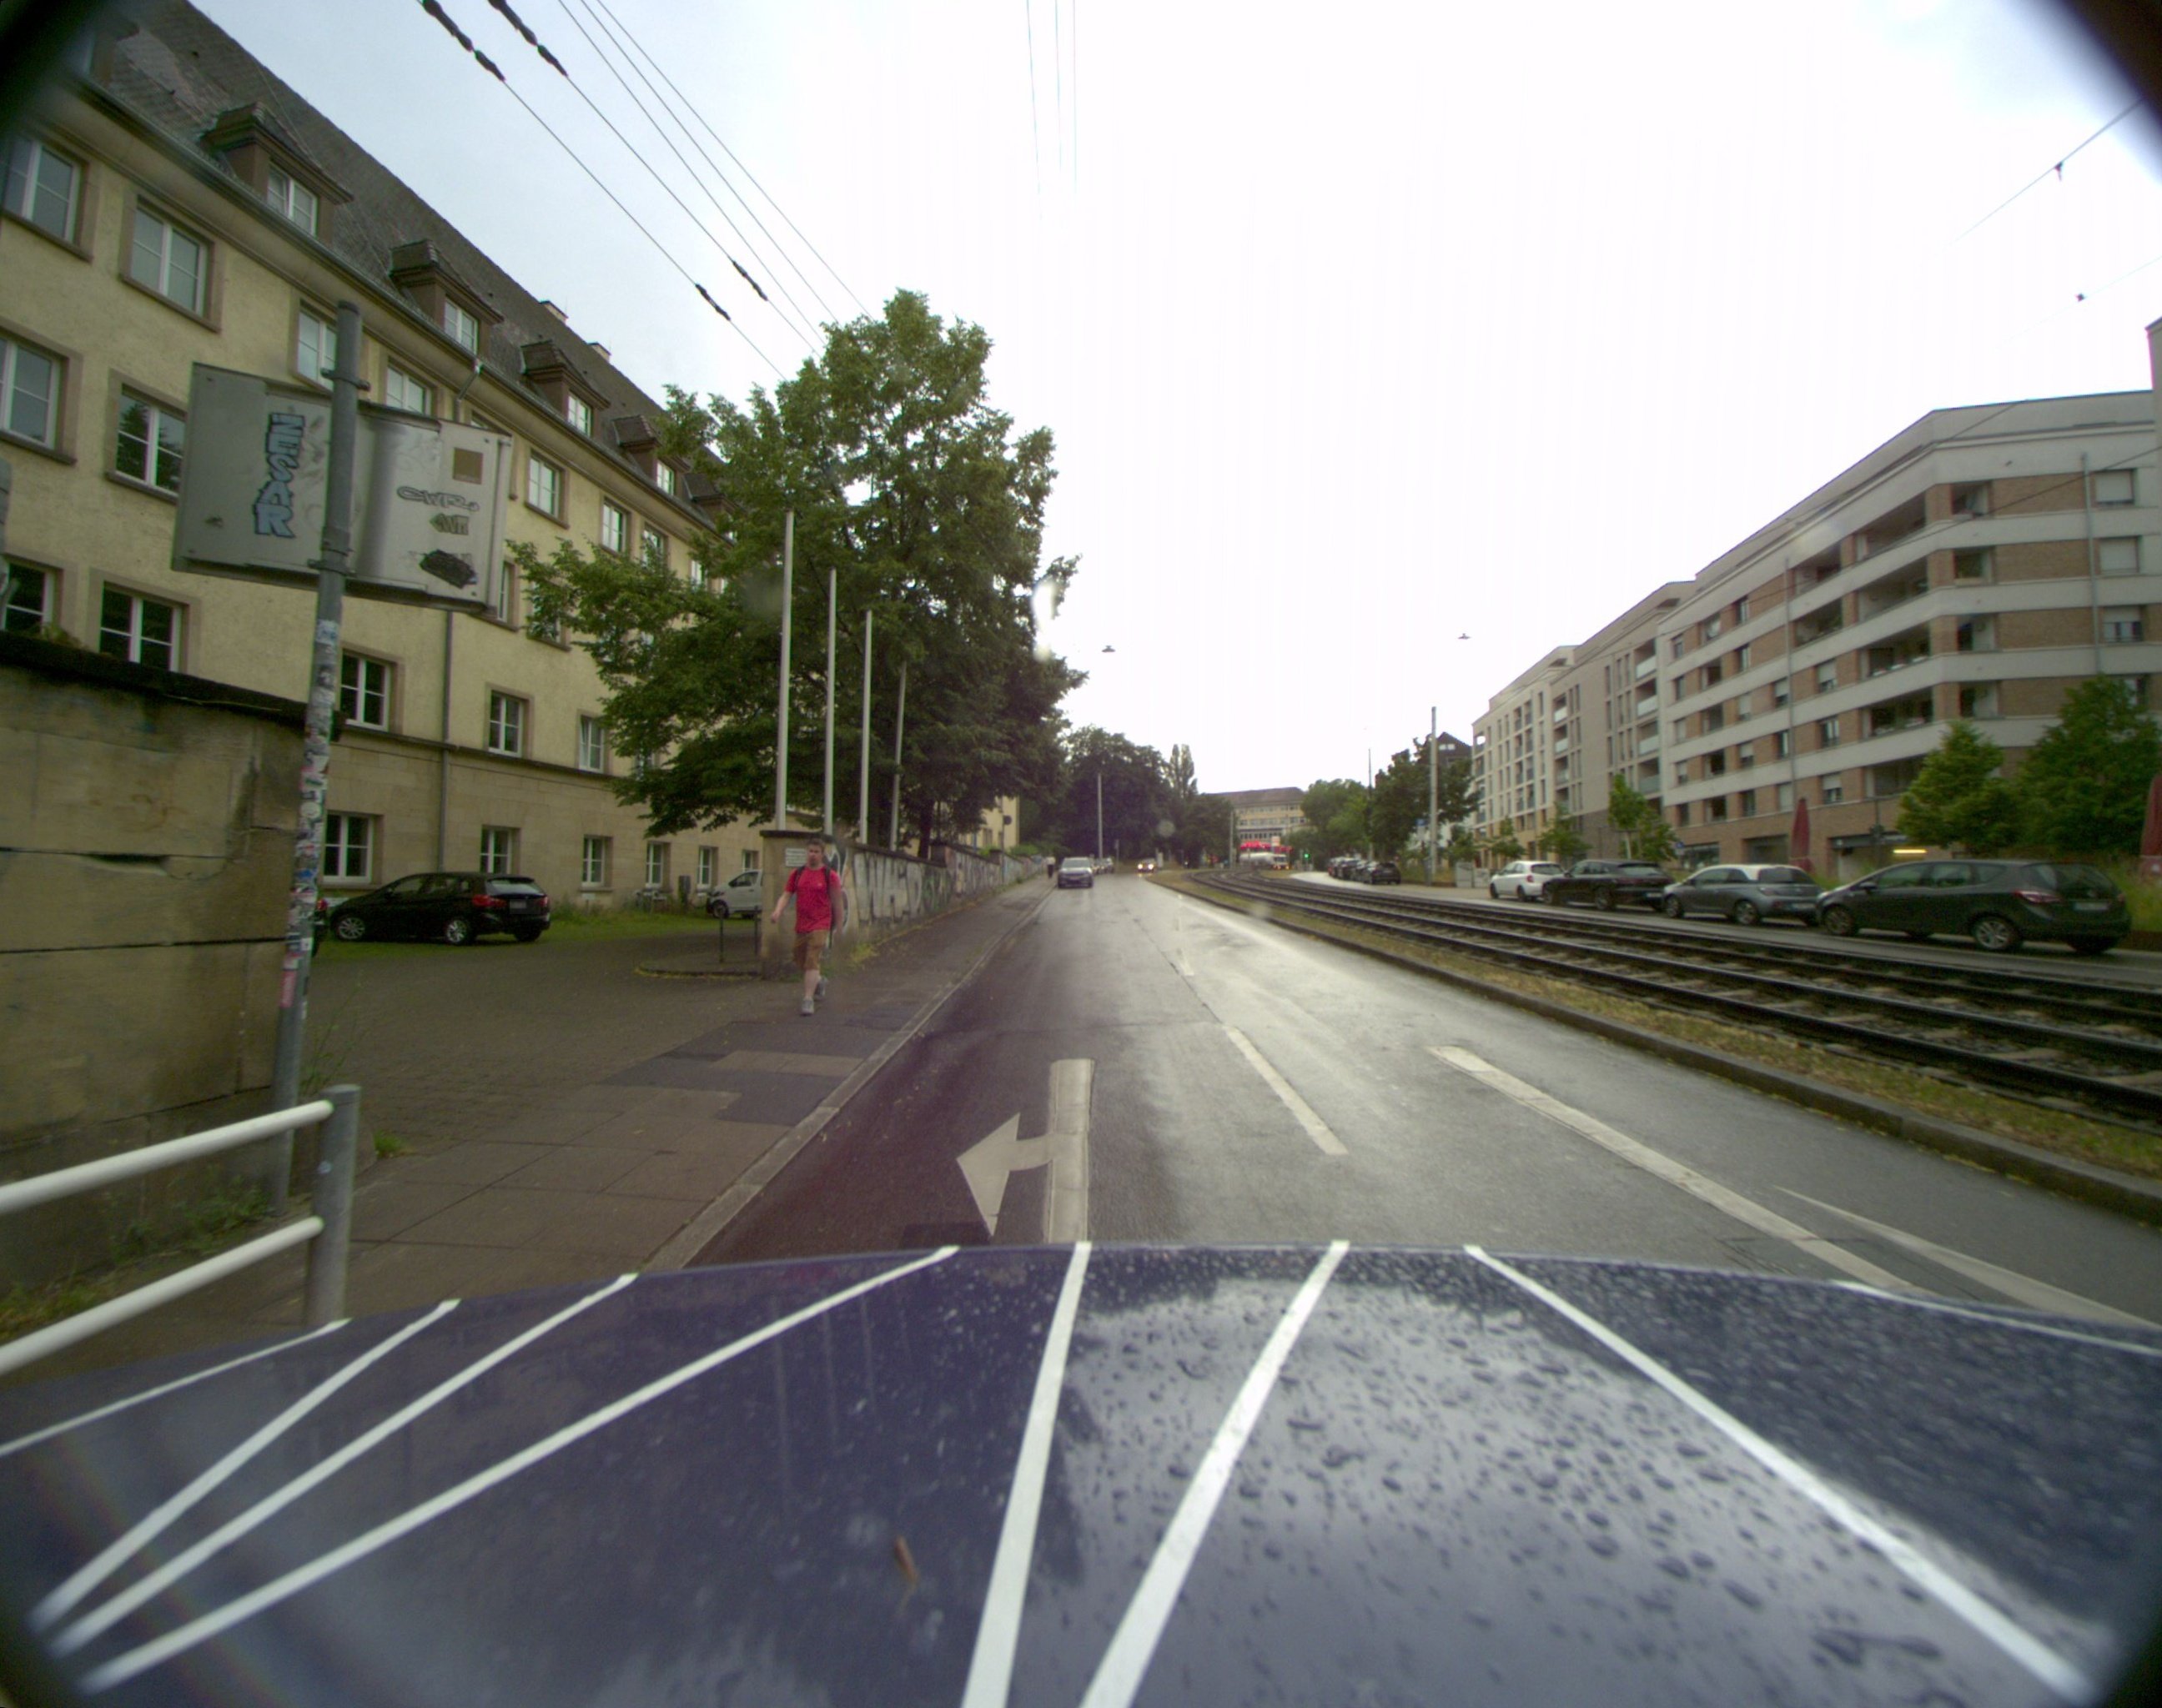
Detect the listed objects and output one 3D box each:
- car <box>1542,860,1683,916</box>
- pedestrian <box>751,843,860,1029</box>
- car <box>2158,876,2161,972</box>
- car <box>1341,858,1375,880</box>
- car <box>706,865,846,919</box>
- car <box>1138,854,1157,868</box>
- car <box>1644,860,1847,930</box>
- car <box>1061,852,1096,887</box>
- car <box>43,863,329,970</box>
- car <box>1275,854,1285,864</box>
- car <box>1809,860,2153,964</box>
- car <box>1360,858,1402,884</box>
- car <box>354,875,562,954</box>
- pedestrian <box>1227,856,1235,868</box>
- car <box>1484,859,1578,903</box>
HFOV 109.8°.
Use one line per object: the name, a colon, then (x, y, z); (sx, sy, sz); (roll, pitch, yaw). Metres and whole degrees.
car: (16.572, 1.004, 23.999); (1.683, 1.496, 4.406); (-1, 0, 5)
pedestrian: (-2.758, 0.788, 7.683); (0.748, 1.754, 0.818); (2, 0, 0)
car: (16.367, 0.994, 8.936); (1.684, 1.372, 4.033); (-1, 0, 0)
car: (20.387, 1.073, 56.093); (1.653, 1.455, 3.672); (-2, 0, 9)
car: (-11.347, 1.404, 28.363); (4.526, 1.769, 1.824); (-2, 1, 12)
car: (7.048, 0.755, 80.819); (1.594, 1.455, 3.670); (0, 0, 0)
car: (16.560, 0.956, 19.221); (1.684, 1.496, 3.928); (-1, 0, 0)
car: (-0.148, 0.767, 40.452); (1.726, 1.676, 3.866); (-3, 0, 0)
car: (-14.286, 0.966, 12.149); (3.908, 1.461, 1.614); (-2, 1, 19)
car: (35.489, 0.925, 135.592); (1.666, 1.597, 3.812); (-2, 0, 16)
car: (16.166, 0.936, 14.017); (1.684, 1.554, 3.928); (-1, 0, 0)
car: (18.926, 1.076, 48.089); (1.653, 1.455, 3.672); (-2, 0, 9)
car: (-13.772, 1.313, 16.829); (3.913, 1.499, 1.825); (-2, 1, 22)
pedestrian: (21.959, 1.141, 111.101); (0.750, 1.754, 0.817); (2, 0, -23)
car: (17.058, 0.982, 29.023); (1.649, 1.496, 3.782); (-1, 0, 6)
